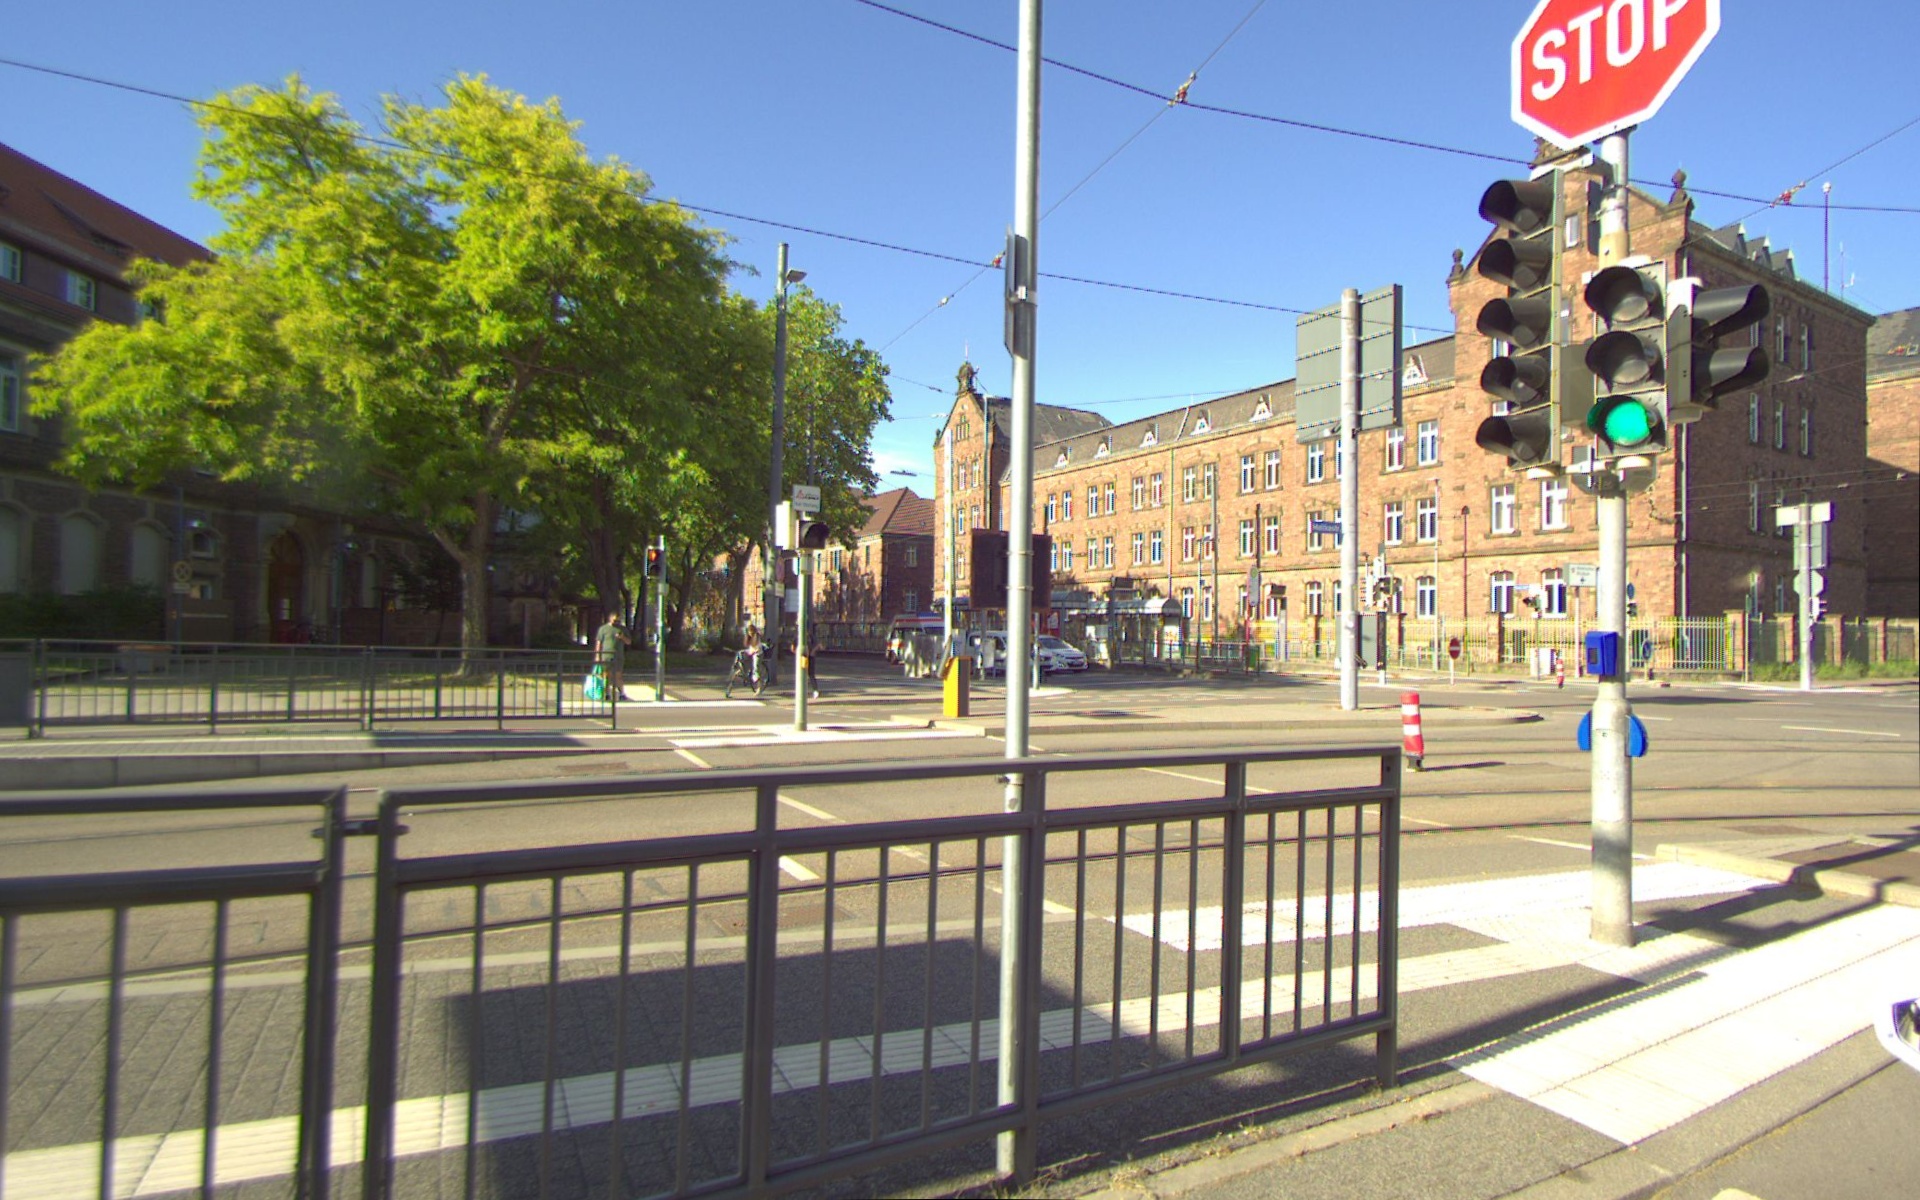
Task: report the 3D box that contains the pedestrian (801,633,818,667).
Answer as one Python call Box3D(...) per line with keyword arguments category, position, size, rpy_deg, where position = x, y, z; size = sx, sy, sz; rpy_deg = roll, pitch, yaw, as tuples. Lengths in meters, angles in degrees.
Box3D(category="pedestrian", position=(-7.242, 2.410, 48.330), size=(0.533, 1.619, 0.712), rpy_deg=(2, -1, -29))

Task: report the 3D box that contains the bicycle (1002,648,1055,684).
Box3D(category="bicycle", position=(2.092, 2.017, 31.009), size=(0.792, 1.027, 1.726), rpy_deg=(2, -1, -30))

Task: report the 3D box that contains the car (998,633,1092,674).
Box3D(category="car", position=(3.336, 2.112, 40.038), size=(1.854, 1.466, 4.048), rpy_deg=(2, -1, -28))

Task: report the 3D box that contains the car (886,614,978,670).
Box3D(category="car", position=(-1.413, 1.967, 48.100), size=(2.235, 2.485, 5.004), rpy_deg=(2, -1, -31))

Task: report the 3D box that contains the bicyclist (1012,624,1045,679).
Box3D(category="bicyclist", position=(2.112, 1.588, 30.996), size=(0.792, 1.657, 0.631), rpy_deg=(2, -1, -30))

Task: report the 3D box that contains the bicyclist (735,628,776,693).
Box3D(category="bicyclist", position=(-4.518, 1.329, 22.229), size=(0.679, 1.402, 0.533), rpy_deg=(1, -1, 34))

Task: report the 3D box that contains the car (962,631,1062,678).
Box3D(category="car", position=(1.858, 1.976, 37.089), size=(1.854, 1.542, 4.048), rpy_deg=(2, -1, -28))

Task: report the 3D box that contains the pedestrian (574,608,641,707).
Box3D(category="pedestrian", position=(-6.913, 1.113, 19.693), size=(1.083, 1.885, 0.724), rpy_deg=(2, -1, -28))

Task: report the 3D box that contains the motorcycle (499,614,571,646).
Box3D(category="motorcycle", position=(-25.355, 1.822, 60.009), size=(1.288, 1.852, 3.759), rpy_deg=(1, -2, 38))

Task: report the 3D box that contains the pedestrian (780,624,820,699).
Box3D(category="pedestrian", position=(-3.459, 1.318, 21.749), size=(0.816, 1.590, 0.574), rpy_deg=(1, 0, -10))

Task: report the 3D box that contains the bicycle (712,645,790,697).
Box3D(category="bicycle", position=(-4.587, 1.540, 22.122), size=(0.682, 1.063, 1.665), rpy_deg=(1, -1, 33))
